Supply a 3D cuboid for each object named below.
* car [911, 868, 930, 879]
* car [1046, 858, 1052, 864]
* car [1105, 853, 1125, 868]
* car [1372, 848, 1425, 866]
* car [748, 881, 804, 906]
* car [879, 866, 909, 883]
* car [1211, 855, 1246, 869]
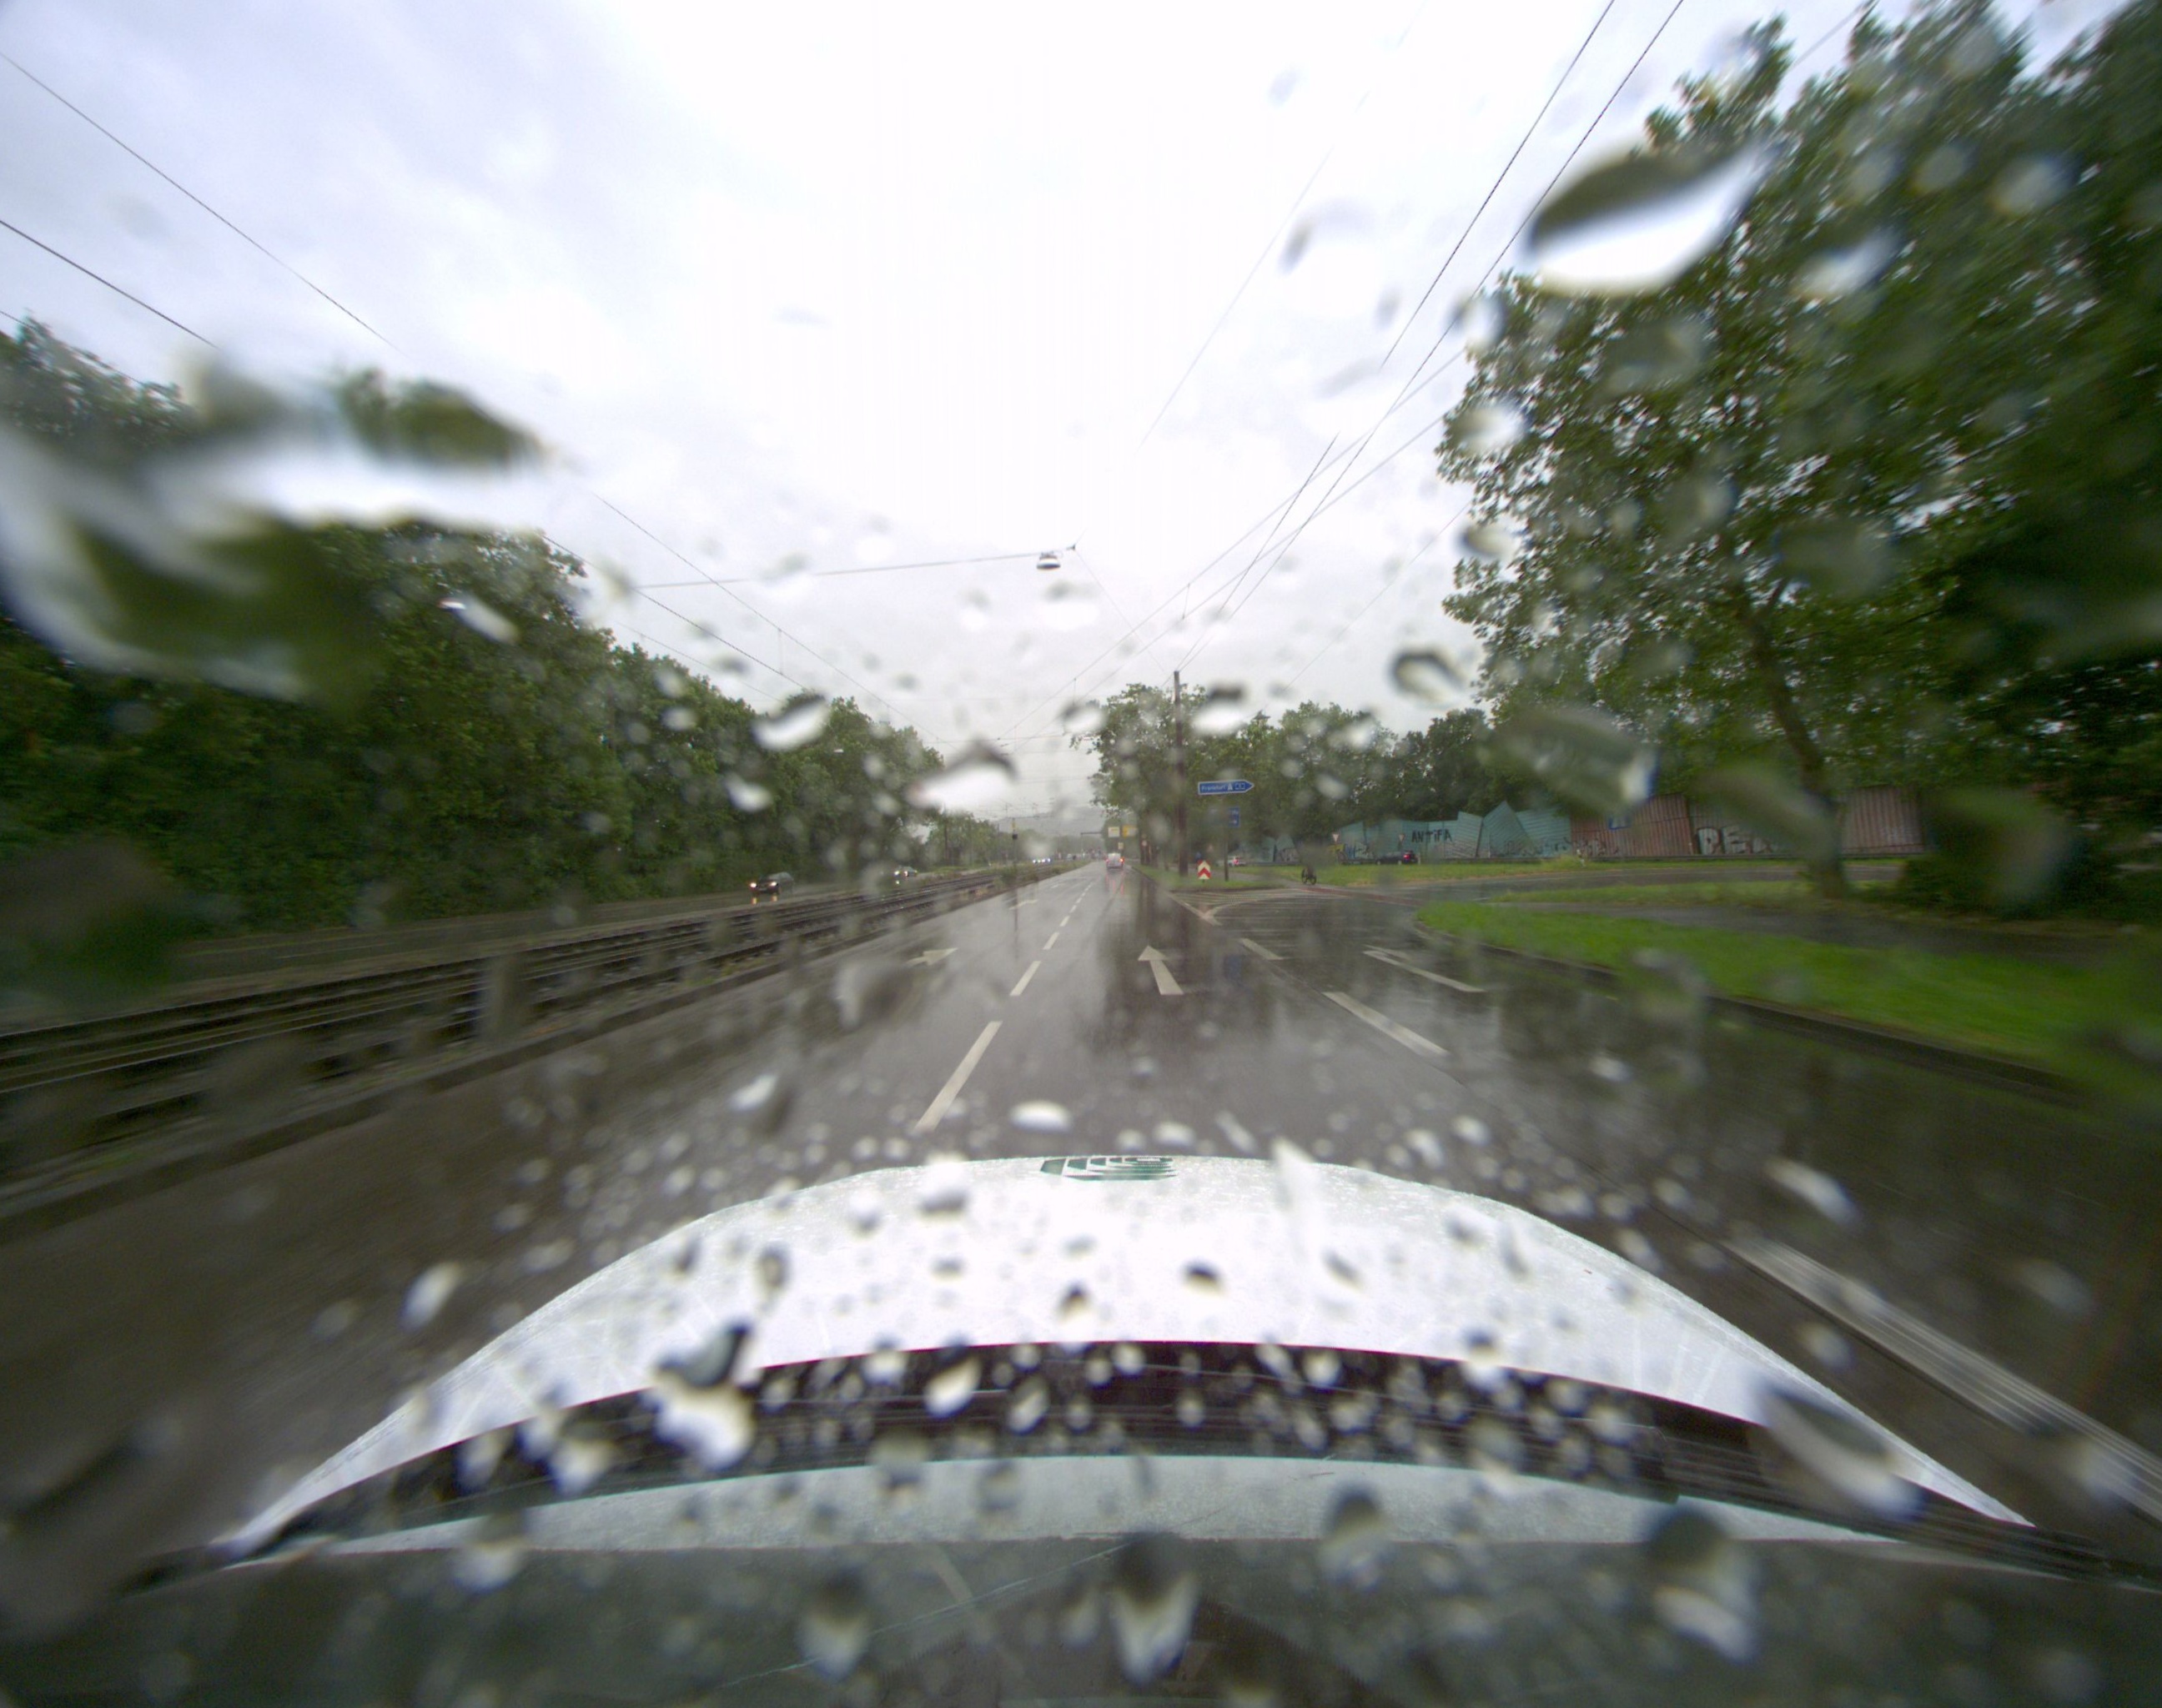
[{"bbox_3d":[-21.182,2.580,107.372,1.676,1.406,3.939,-2,-1,0],"label":"car"},{"bbox_3d":[-9.672,2.137,246.539,1.938,1.616,4.984,-2,0,-2],"label":"car"},{"bbox_3d":[3.572,0.717,86.261,2.070,1.420,4.001,-3,0,1],"label":"car"},{"bbox_3d":[28.775,0.306,73.895,1.872,1.536,4.480,-2,0,-24],"label":"car"},{"bbox_3d":[-19.021,2.422,51.003,1.765,1.330,4.380,-2,0,0],"label":"car"},{"bbox_3d":[-18.214,1.951,79.502,1.685,1.523,4.955,-2,0,0],"label":"car"},{"bbox_3d":[17.732,0.979,98.129,1.959,1.536,4.427,-2,0,-27],"label":"car"}]
